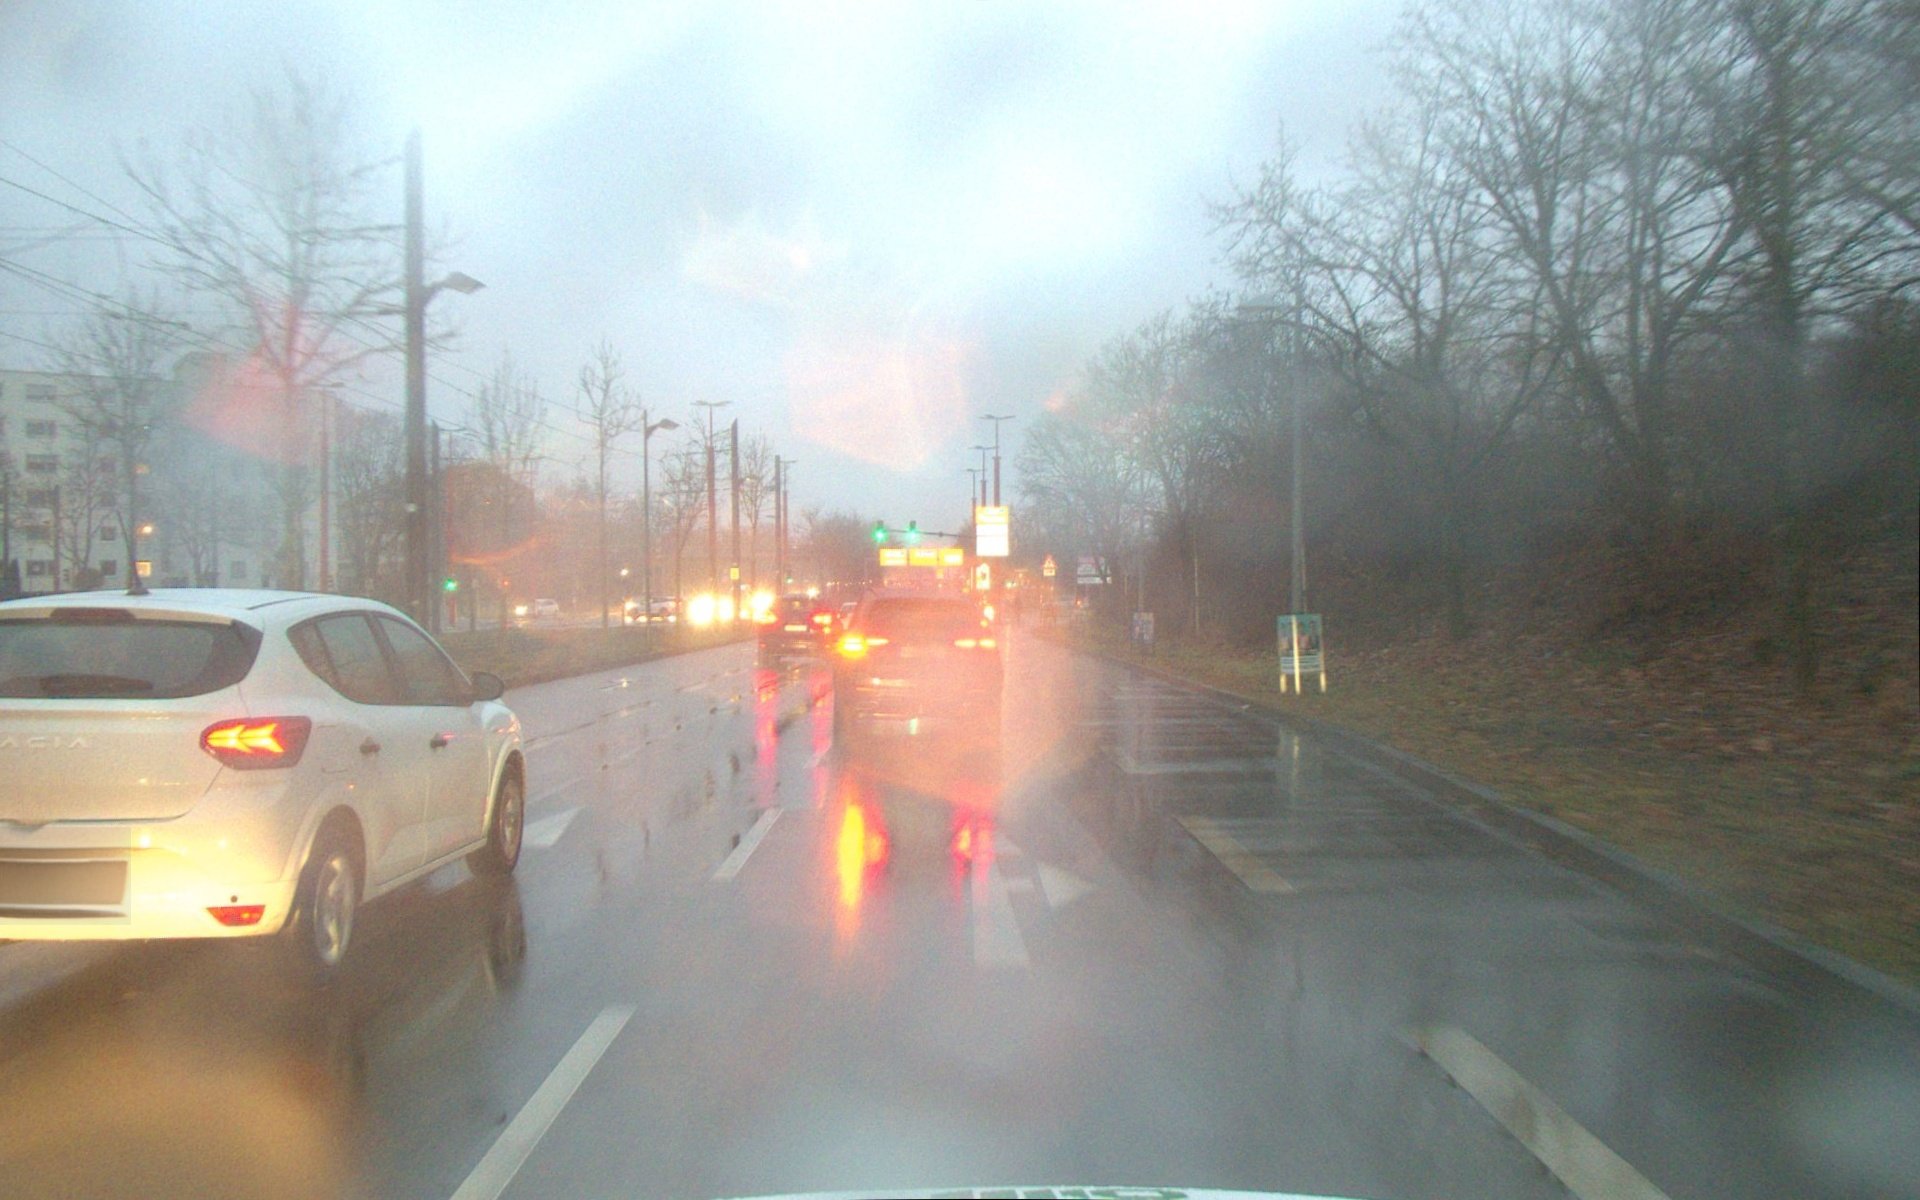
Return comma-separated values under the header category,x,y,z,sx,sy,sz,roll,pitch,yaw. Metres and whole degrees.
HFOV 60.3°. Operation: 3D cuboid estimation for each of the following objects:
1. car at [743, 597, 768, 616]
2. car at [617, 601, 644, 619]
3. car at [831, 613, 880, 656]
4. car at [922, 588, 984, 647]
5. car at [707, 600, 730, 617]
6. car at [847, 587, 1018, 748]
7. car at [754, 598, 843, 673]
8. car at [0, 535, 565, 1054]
category,x,y,z,sx,sy,sz,roll,pitch,yaw
car,-17.732,0.590,143.777,1.820,1.609,4.077,0,0,-3
car,-28.391,0.827,142.776,1.585,1.521,4.016,0,0,-1
car,-4.201,1.371,66.773,1.785,1.677,3.999,0,0,-1
car,-0.245,0.506,50.152,1.785,1.677,4.465,-1,0,-1
car,-21.079,0.714,144.334,1.619,1.445,3.325,0,0,-2
car,-0.320,0.704,19.482,1.785,1.677,4.465,0,0,-1
car,-3.767,0.805,39.178,1.785,1.677,3.999,0,0,-1
car,-3.080,0.631,7.428,1.679,1.677,4.146,0,0,-1
